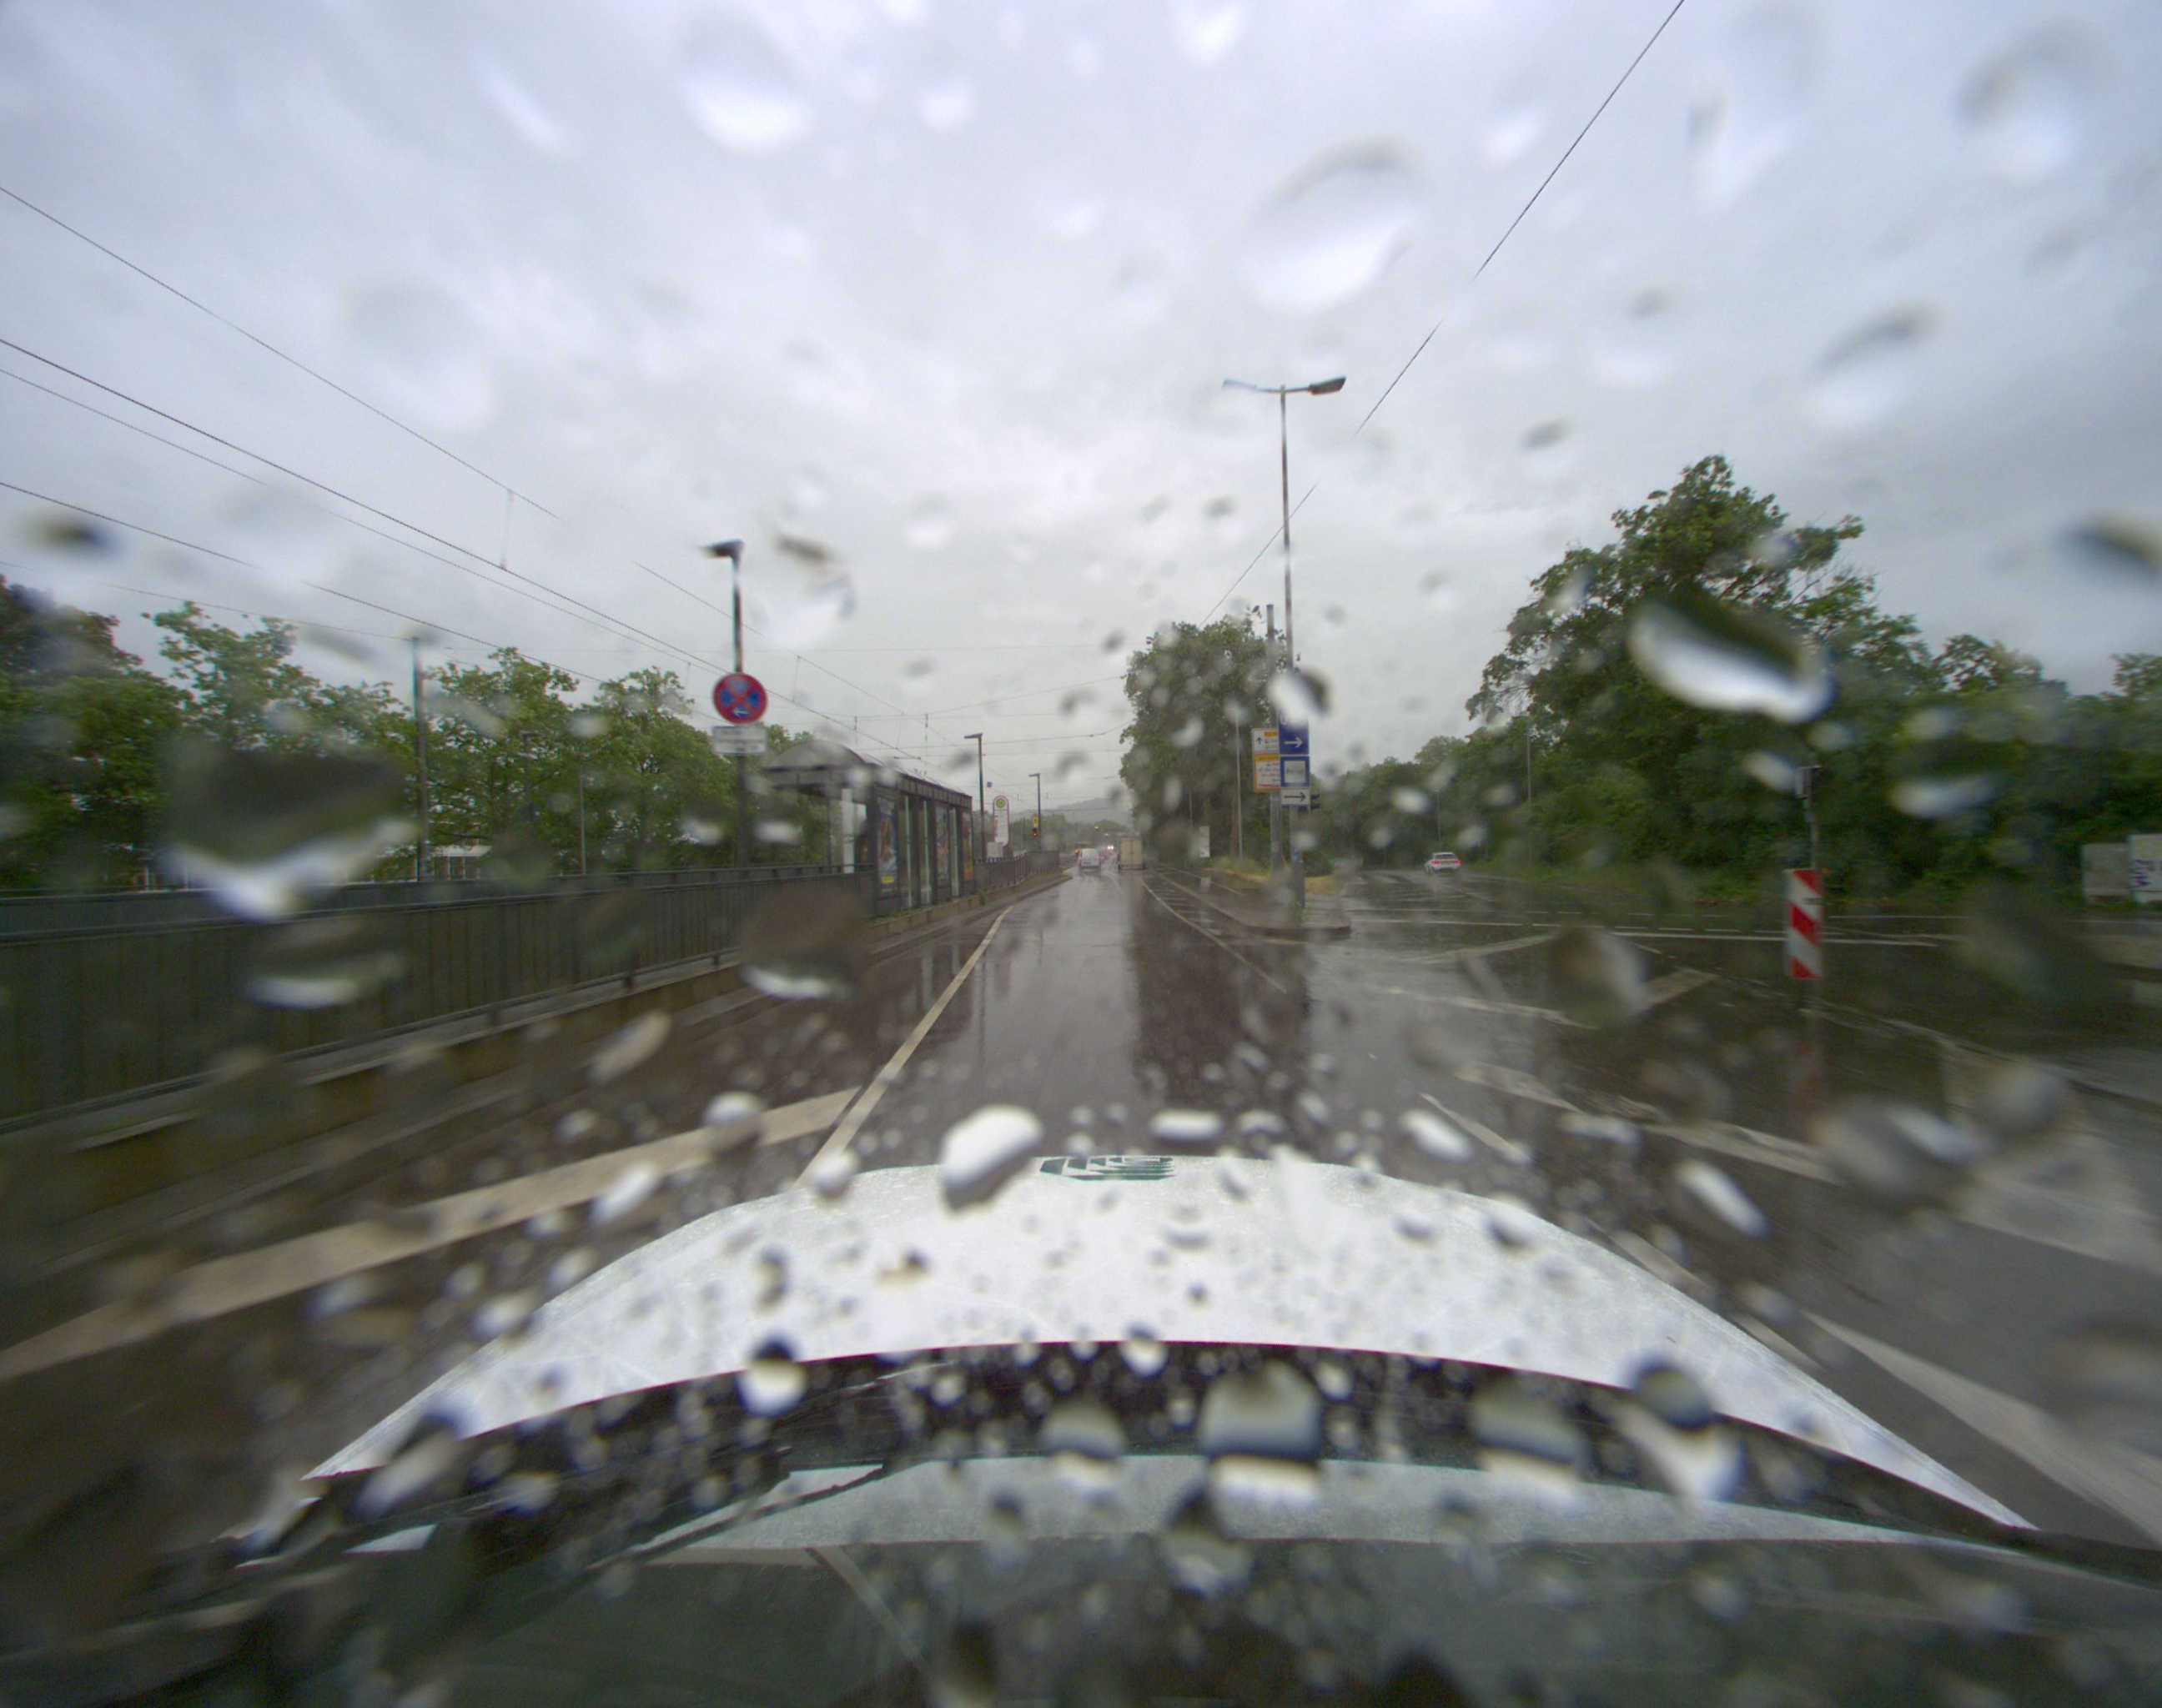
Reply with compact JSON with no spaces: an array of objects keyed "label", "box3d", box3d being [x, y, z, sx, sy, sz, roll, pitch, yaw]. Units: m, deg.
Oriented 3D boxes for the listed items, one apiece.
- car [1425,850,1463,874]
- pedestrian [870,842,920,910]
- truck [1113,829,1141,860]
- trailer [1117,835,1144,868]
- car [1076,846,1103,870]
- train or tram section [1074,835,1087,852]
[{"label":"car","box3d":[22.703,0.483,51.049,1.872,1.431,4.020,-1,0,19]},{"label":"pedestrian","box3d":[-3.752,0.435,16.469,0.810,1.340,0.660,-1,0,3]},{"label":"truck","box3d":[5.716,-1.124,102.557,2.767,3.704,9.849,-1,0,0]},{"label":"trailer","box3d":[4.386,-0.227,71.350,2.155,2.757,5.684,-1,0,5]},{"label":"car","box3d":[0.651,0.307,65.694,1.988,1.849,3.998,-1,0,-1]},{"label":"train or tram section","box3d":[-0.084,-2.582,209.886,2.795,4.149,13.030,-1,0,3]}]
